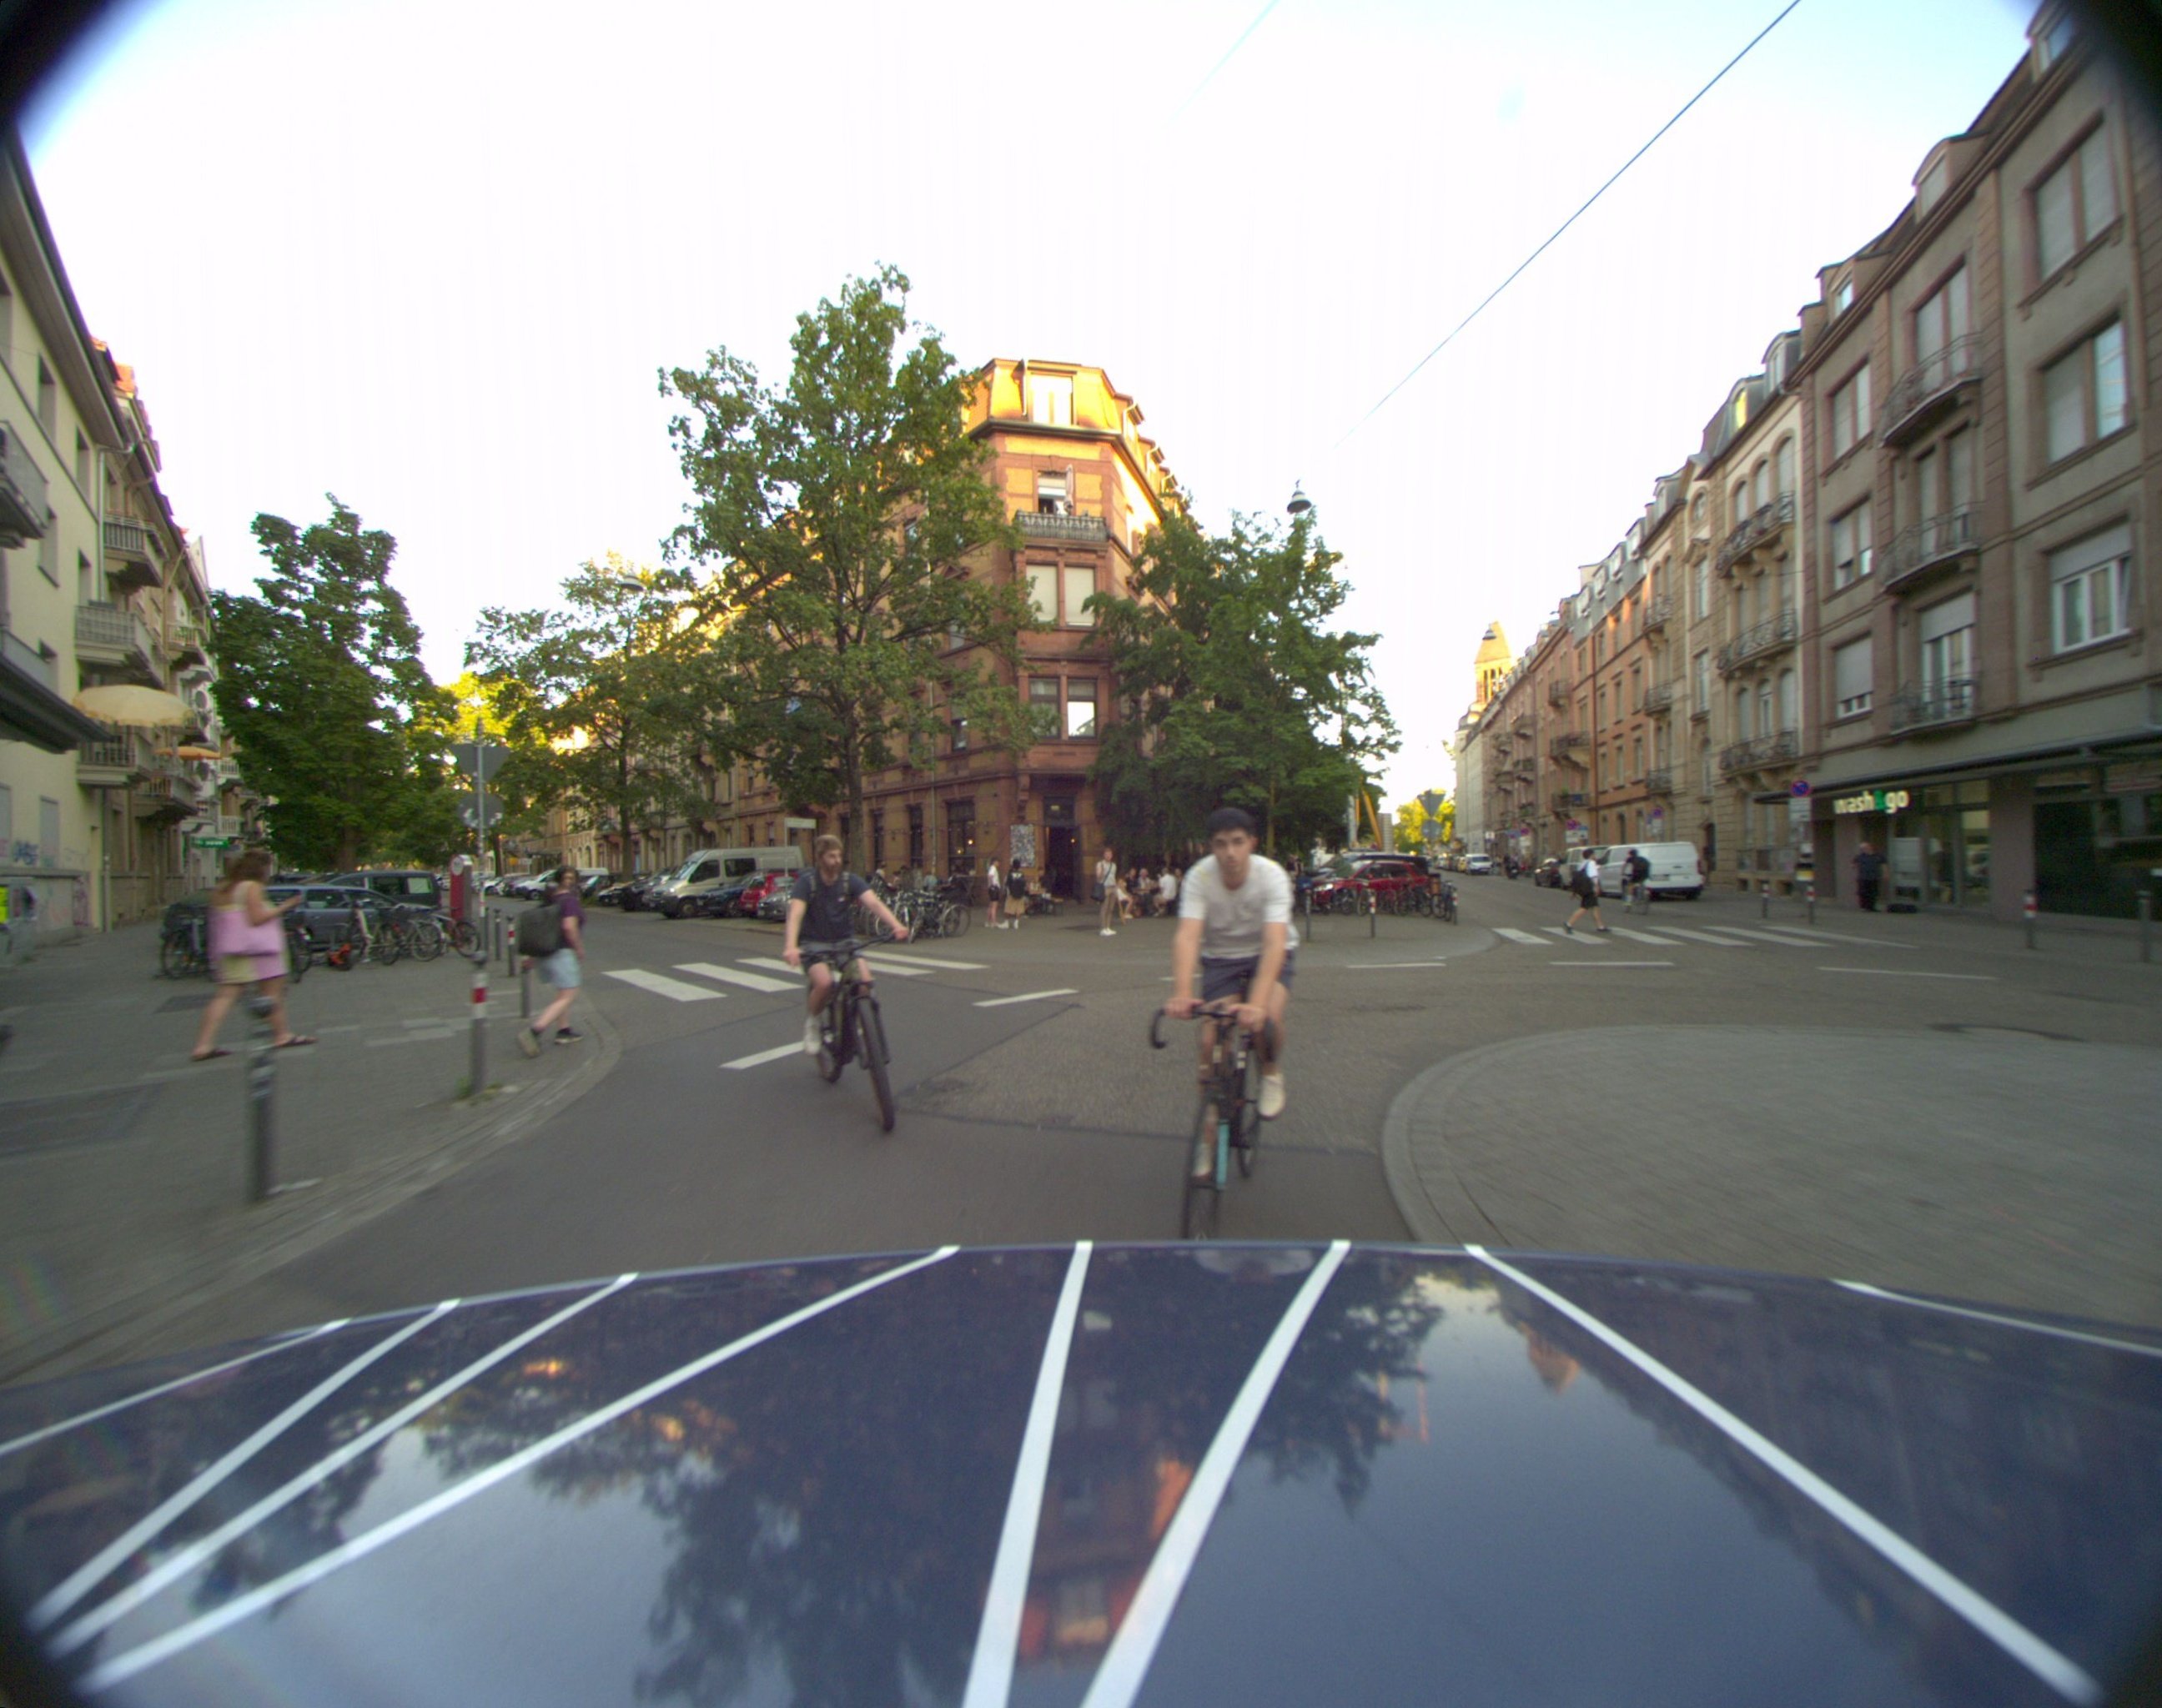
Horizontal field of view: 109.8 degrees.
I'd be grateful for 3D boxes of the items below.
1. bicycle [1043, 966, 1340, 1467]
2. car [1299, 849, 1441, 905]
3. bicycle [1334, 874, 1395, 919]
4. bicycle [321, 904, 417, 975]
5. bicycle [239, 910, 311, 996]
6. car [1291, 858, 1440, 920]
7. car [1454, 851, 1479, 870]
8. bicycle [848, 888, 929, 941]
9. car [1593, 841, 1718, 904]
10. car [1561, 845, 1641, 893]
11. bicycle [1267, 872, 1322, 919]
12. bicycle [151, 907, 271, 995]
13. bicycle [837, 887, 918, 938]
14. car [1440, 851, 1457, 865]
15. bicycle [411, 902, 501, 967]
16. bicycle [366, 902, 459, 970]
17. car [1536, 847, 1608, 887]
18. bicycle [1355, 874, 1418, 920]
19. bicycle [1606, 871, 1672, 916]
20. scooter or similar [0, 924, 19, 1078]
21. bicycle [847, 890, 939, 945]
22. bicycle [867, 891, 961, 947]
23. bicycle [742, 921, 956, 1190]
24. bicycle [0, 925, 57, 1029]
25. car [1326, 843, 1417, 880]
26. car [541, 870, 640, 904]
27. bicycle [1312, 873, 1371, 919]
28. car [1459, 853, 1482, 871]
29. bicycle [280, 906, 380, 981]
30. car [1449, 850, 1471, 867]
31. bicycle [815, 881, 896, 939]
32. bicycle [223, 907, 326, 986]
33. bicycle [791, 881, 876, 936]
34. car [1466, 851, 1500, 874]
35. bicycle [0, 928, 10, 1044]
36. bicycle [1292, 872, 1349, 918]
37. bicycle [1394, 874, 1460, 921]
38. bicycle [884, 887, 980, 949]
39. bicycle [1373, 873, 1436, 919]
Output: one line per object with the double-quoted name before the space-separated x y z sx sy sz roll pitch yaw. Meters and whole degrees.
"bicycle" 0.587 1.110 3.018 0.657 1.012 1.920 -2 1 23
"car" 12.086 0.935 31.985 5.145 2.085 2.116 -2 1 -4
"bicycle" 7.818 1.156 21.068 0.665 1.125 2.114 1 0 -6
"bicycle" -12.166 1.439 12.979 1.779 1.076 0.571 0 0 25
"bicycle" -11.583 1.374 10.903 1.779 1.076 0.571 -1 -1 39
"car" 8.932 1.052 23.979 4.000 1.658 1.826 -2 1 -10
"car" 39.563 0.667 78.071 1.995 1.728 4.006 -2 1 24
"bicycle" -4.581 1.412 18.209 0.711 1.072 1.888 -2 1 32
"car" 19.945 0.600 26.663 2.138 1.946 4.776 -2 0 20
"car" 22.005 0.605 32.334 1.876 1.892 4.333 -2 0 22
"bicycle" 5.815 1.093 20.808 0.665 1.158 2.114 1 0 -6
"bicycle" -12.665 1.370 11.054 1.779 1.104 0.684 0 0 25
"bicycle" -4.965 1.413 18.655 0.711 1.072 1.888 -2 1 32
"car" 46.813 0.499 96.872 1.865 1.728 3.805 -2 1 24
"bicycle" -11.622 1.468 14.122 1.779 1.076 0.571 0 0 25
"bicycle" -11.917 1.438 13.532 1.779 1.076 0.571 0 0 25
"car" 24.355 0.609 37.866 2.138 1.811 4.547 -2 0 22
"bicycle" 8.476 1.171 21.186 0.665 1.125 2.114 1 0 -6
"bicycle" 15.041 1.051 20.534 0.753 1.124 1.979 -1 -1 15
"scooter or similar" -9.224 1.194 5.833 0.414 1.225 1.235 -1 -1 36
"bicycle" -4.269 1.410 17.310 1.888 1.052 0.710 -3 1 -43
"bicycle" -3.674 1.405 16.848 1.888 1.045 0.710 -3 1 -43
"bicycle" -1.593 1.067 4.837 0.796 1.132 2.338 -1 -1 -29
"bicycle" -12.196 1.310 7.887 1.787 1.050 0.568 1 0 -28
"car" 19.322 0.486 50.726 5.145 2.182 2.337 -2 1 -4
"car" -26.226 1.738 40.721 1.846 1.528 3.983 -1 1 40
"bicycle" 7.135 1.134 20.945 0.665 1.125 2.114 1 0 -6
"car" 38.048 0.786 74.276 1.837 1.633 3.931 -2 1 24
"bicycle" -12.210 1.415 12.341 1.779 1.076 0.571 0 0 25
"car" 41.165 0.484 82.629 1.995 1.728 4.006 -2 1 24
"bicycle" -5.547 1.352 18.804 0.711 1.232 1.888 -2 1 32
"bicycle" -12.527 1.399 11.793 1.779 1.076 0.571 0 0 25
"bicycle" -6.268 1.355 19.300 1.887 1.232 0.711 -3 1 -37
"car" 34.132 0.675 64.611 2.138 1.811 4.547 -2 0 23
"bicycle" -11.173 1.271 6.773 1.787 1.119 0.608 1 0 -28
"bicycle" 6.544 1.094 20.863 0.665 1.158 2.114 1 0 -6
"bicycle" 9.581 1.172 21.131 0.665 1.162 2.114 1 0 -6
"bicycle" -3.177 1.340 16.342 1.888 1.148 0.710 -3 1 -43
"bicycle" 9.097 1.167 21.451 0.665 1.162 2.114 1 0 -6
